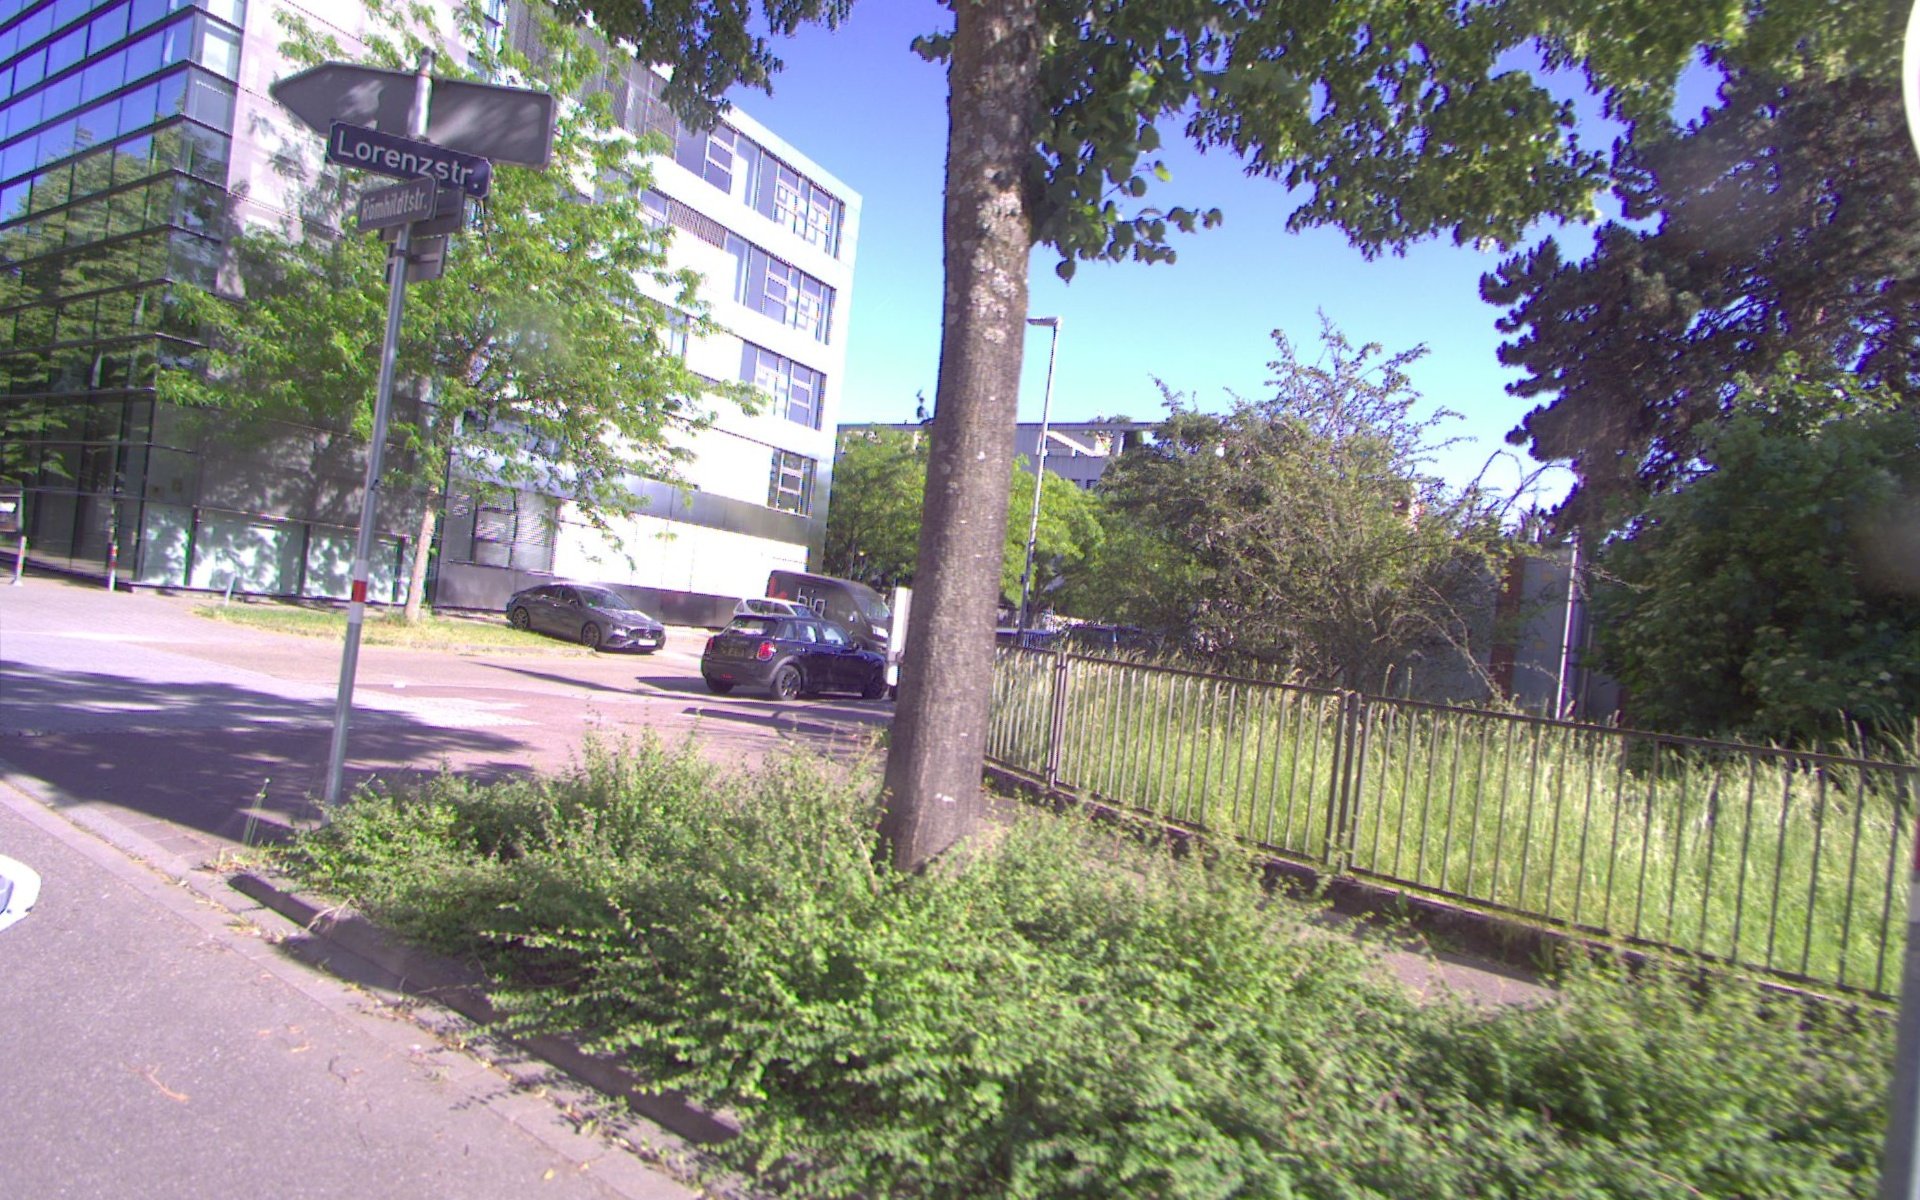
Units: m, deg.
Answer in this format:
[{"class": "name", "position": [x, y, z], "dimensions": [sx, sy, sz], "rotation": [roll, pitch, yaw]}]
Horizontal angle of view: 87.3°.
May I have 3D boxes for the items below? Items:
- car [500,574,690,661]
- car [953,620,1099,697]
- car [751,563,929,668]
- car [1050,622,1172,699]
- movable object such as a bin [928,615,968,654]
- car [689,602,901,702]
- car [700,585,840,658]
[{"class": "car", "position": [-8.950, 0.412, 24.576], "dimensions": [4.473, 1.367, 1.889], "rotation": [9, 0, 31]}, {"class": "car", "position": [1.758, 1.521, 25.238], "dimensions": [1.801, 1.648, 4.286], "rotation": [4, -2, 31]}, {"class": "car", "position": [-4.002, 0.493, 33.254], "dimensions": [5.381, 2.655, 2.227], "rotation": [8, 1, 32]}, {"class": "car", "position": [4.757, 1.911, 31.044], "dimensions": [1.918, 2.046, 4.817], "rotation": [5, -2, 31]}, {"class": "movable object such as a bin", "position": [-0.485, 1.441, 41.904], "dimensions": [1.273, 1.431, 1.228], "rotation": [7, 0, 14]}, {"class": "car", "position": [-2.827, 0.985, 18.014], "dimensions": [1.630, 1.489, 3.758], "rotation": [4, -2, 30]}, {"class": "car", "position": [-5.945, 0.662, 31.461], "dimensions": [3.777, 1.665, 1.890], "rotation": [9, 0, 29]}]
